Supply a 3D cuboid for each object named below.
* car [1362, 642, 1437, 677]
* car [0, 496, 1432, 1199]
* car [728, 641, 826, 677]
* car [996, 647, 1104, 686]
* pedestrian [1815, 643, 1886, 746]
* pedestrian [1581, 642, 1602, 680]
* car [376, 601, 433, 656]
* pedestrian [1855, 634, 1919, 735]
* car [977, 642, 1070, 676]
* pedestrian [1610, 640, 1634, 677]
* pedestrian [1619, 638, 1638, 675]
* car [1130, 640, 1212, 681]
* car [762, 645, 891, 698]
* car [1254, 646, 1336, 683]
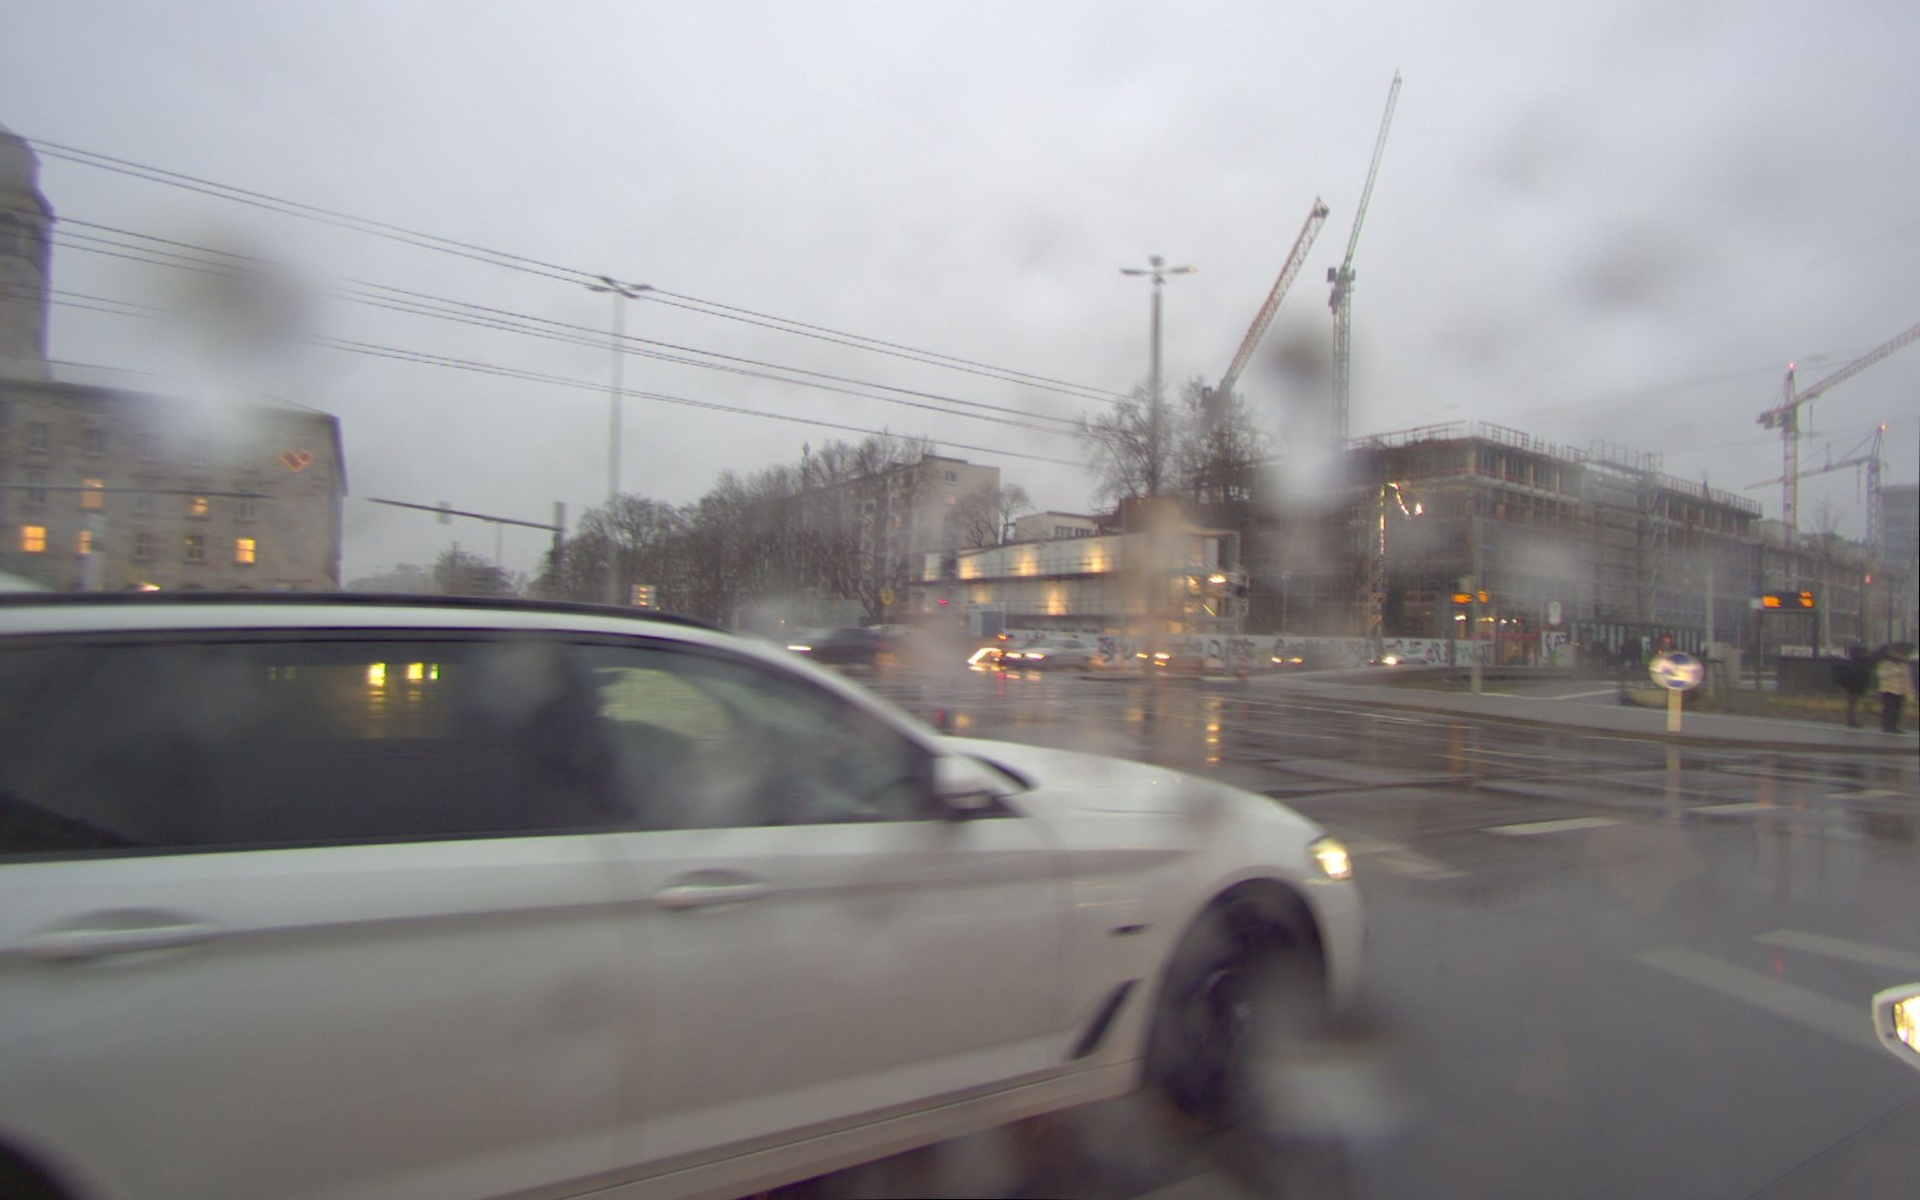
[{"bbox_3d":[26.238,3.560,60.009,3.947,1.814,1.987,3,-1,-26],"label":"car"},{"bbox_3d":[-0.806,0.676,3.039,4.512,1.506,2.005,3,-2,-34],"label":"car"},{"bbox_3d":[-8.436,2.727,46.351,3.957,1.550,1.982,3,-2,-33],"label":"car"},{"bbox_3d":[3.931,2.863,43.393,4.582,1.550,2.057,4,-3,-42],"label":"car"},{"bbox_3d":[18.411,1.928,20.787,0.713,2.040,0.786,3,0,10],"label":"pedestrian"},{"bbox_3d":[33.229,3.208,52.824,0.547,1.905,0.694,3,0,-33],"label":"pedestrian"},{"bbox_3d":[-26.609,1.346,48.250,2.033,2.454,4.730,2,-2,-26],"label":"car"},{"bbox_3d":[18.093,1.621,19.521,0.809,1.856,0.785,3,0,27],"label":"pedestrian"},{"bbox_3d":[3.118,2.881,48.983,4.300,1.550,1.978,4,-3,-39],"label":"car"},{"bbox_3d":[35.419,3.145,53.755,0.754,1.922,0.761,4,-1,-32],"label":"pedestrian"},{"bbox_3d":[36.323,3.071,54.578,0.659,1.994,0.565,3,1,-38],"label":"pedestrian"},{"bbox_3d":[10.444,2.978,49.526,3.967,1.852,1.850,3,-1,-40],"label":"car"},{"bbox_3d":[-4.614,2.460,34.775,3.957,1.678,1.982,3,-2,-33],"label":"car"},{"bbox_3d":[18.401,3.534,55.141,3.947,1.814,1.987,3,-1,-26],"label":"car"}]
